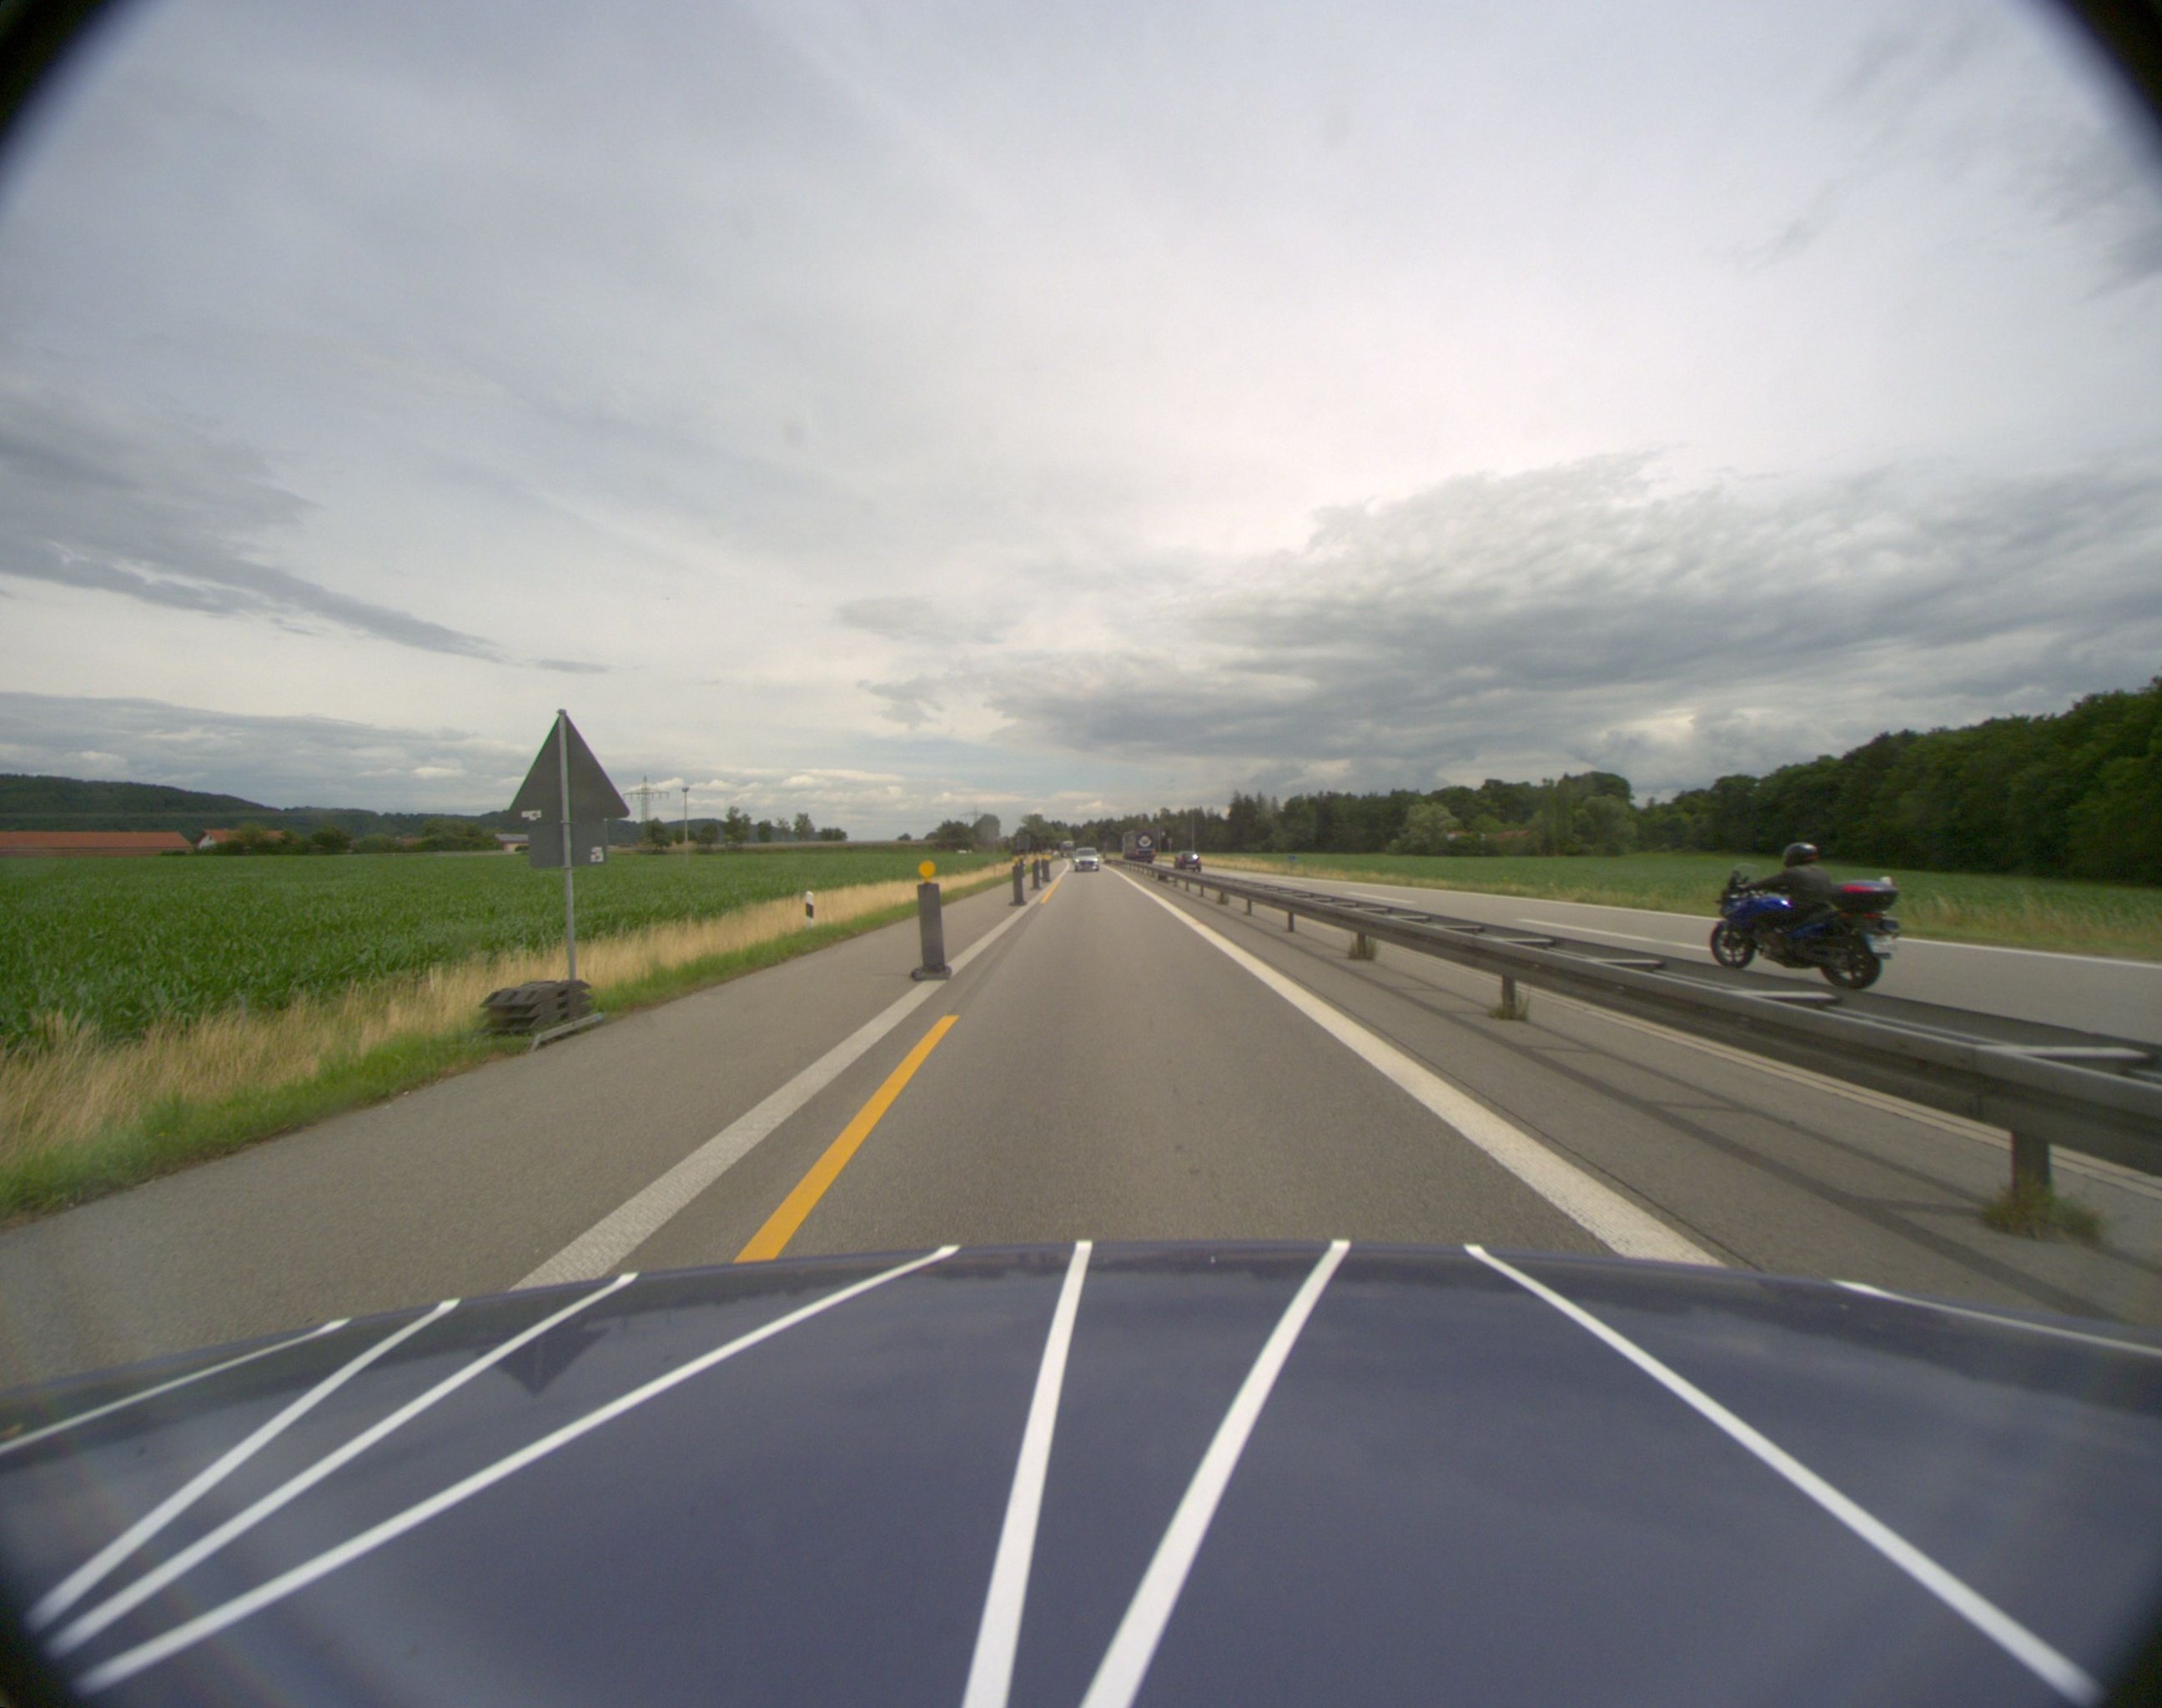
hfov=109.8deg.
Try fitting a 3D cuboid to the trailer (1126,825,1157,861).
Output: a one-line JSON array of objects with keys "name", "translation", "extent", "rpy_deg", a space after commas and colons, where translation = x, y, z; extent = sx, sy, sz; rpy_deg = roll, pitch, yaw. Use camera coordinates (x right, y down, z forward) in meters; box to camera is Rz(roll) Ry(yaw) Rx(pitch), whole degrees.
[{"name": "trailer", "translation": [7.632, -1.428, 97.252], "extent": [2.806, 4.149, 13.560], "rpy_deg": [-2, 1, 1]}]

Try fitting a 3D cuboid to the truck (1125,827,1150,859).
[{"name": "truck", "translation": [7.681, -1.575, 104.599], "extent": [2.806, 4.118, 7.227], "rpy_deg": [-2, 1, 0]}]

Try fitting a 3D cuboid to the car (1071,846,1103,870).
[{"name": "car", "translation": [0.443, 0.288, 61.184], "extent": [1.924, 1.823, 3.996], "rpy_deg": [-2, 1, -8]}]

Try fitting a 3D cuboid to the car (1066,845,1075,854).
[{"name": "car", "translation": [-2.648, -1.137, 190.938], "extent": [1.998, 2.002, 3.999], "rpy_deg": [-2, 1, 1]}]

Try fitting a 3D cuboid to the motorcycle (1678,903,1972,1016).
[{"name": "motorcycle", "translation": [8.662, 1.168, 9.113], "extent": [0.857, 0.929, 2.724], "rpy_deg": [-2, 0, 1]}]

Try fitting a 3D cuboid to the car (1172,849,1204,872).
[{"name": "car", "translation": [8.657, 0.498, 61.688], "extent": [1.998, 1.674, 4.232], "rpy_deg": [-2, 1, 0]}]

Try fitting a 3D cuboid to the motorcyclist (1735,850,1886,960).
[{"name": "motorcyclist", "translation": [8.645, 0.572, 9.052], "extent": [0.863, 1.202, 0.960], "rpy_deg": [-2, 1, 1]}]
